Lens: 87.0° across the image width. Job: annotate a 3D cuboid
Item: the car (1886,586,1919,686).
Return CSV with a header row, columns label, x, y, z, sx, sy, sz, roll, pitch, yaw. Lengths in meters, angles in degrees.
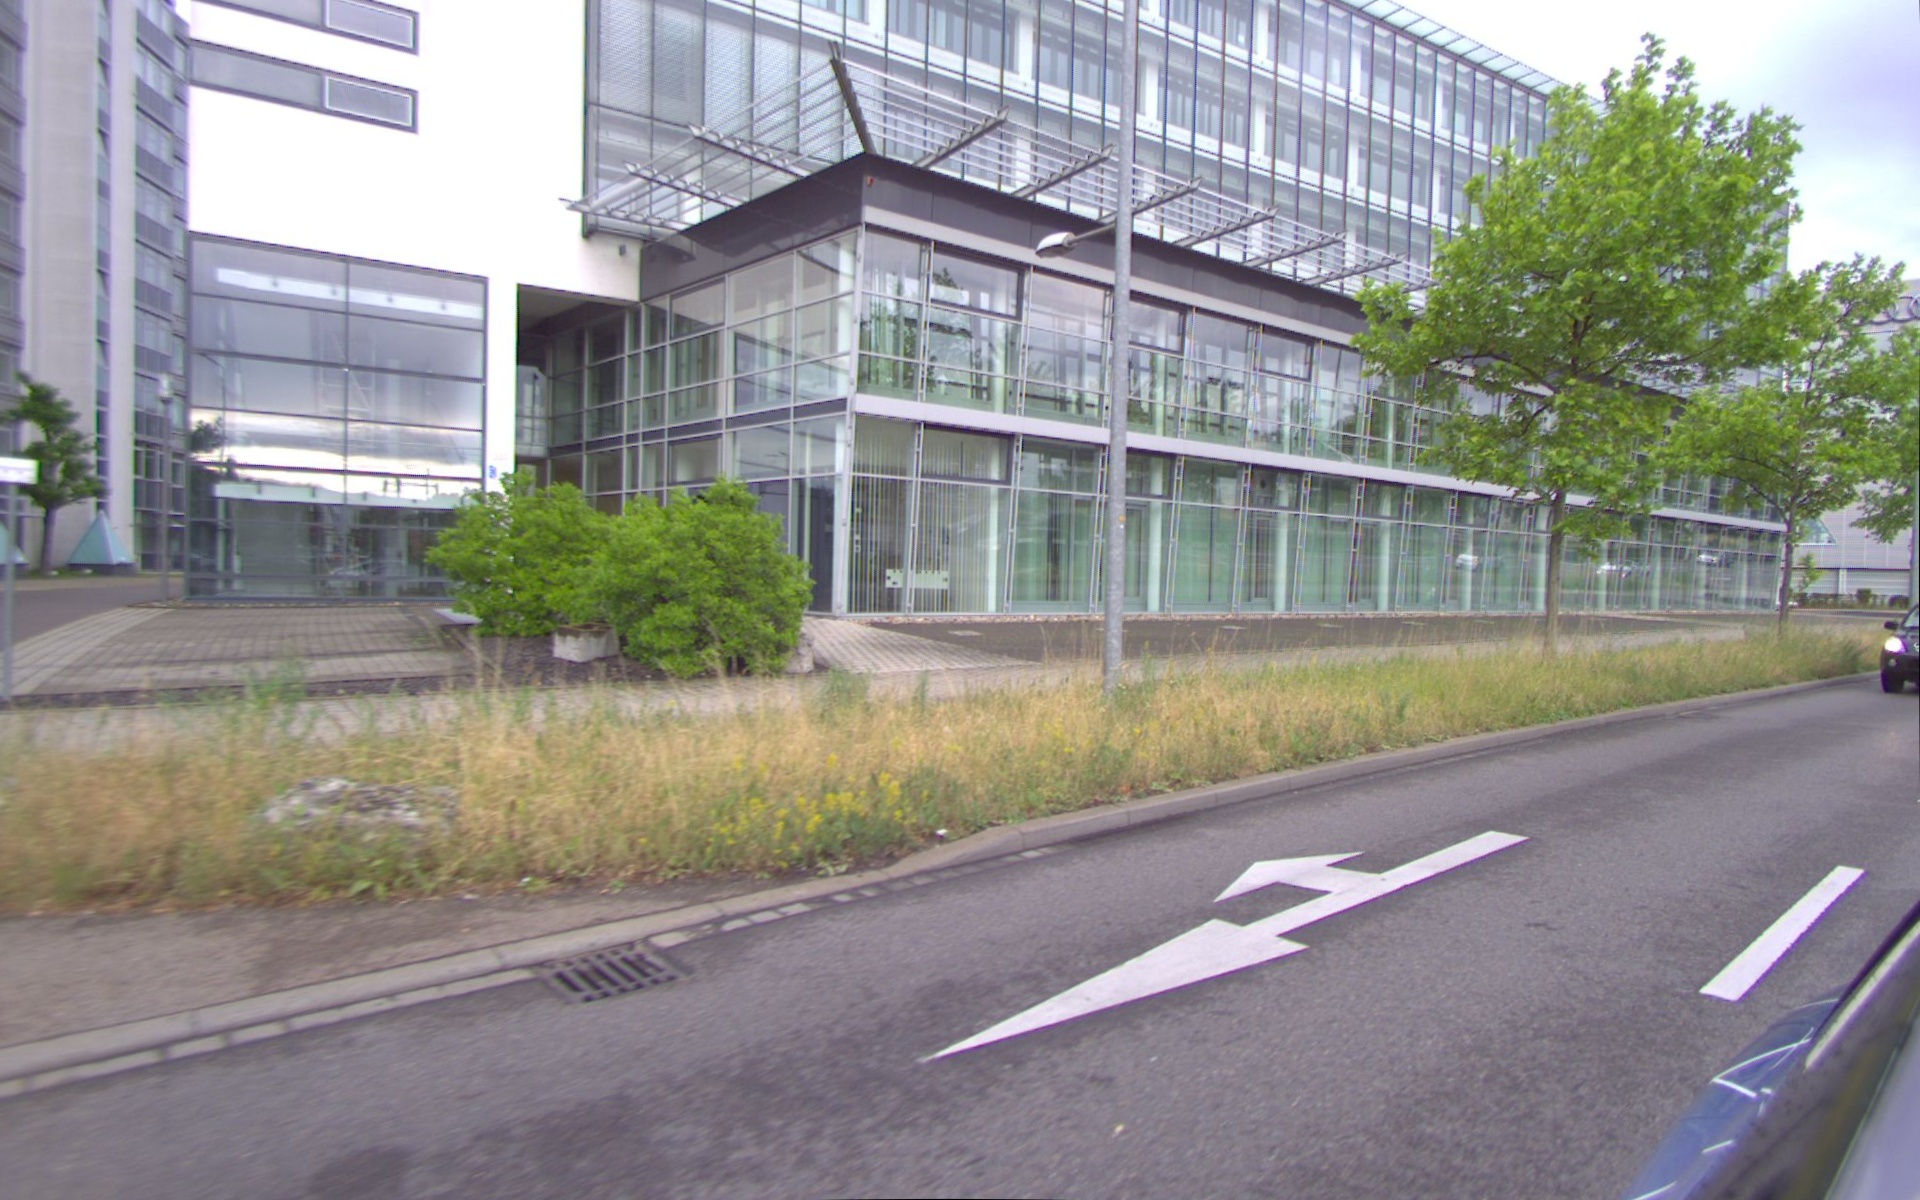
label,x,y,z,sx,sy,sz,roll,pitch,yaw
car,17.794,0.574,17.484,4.243,1.650,1.771,0,0,-35
